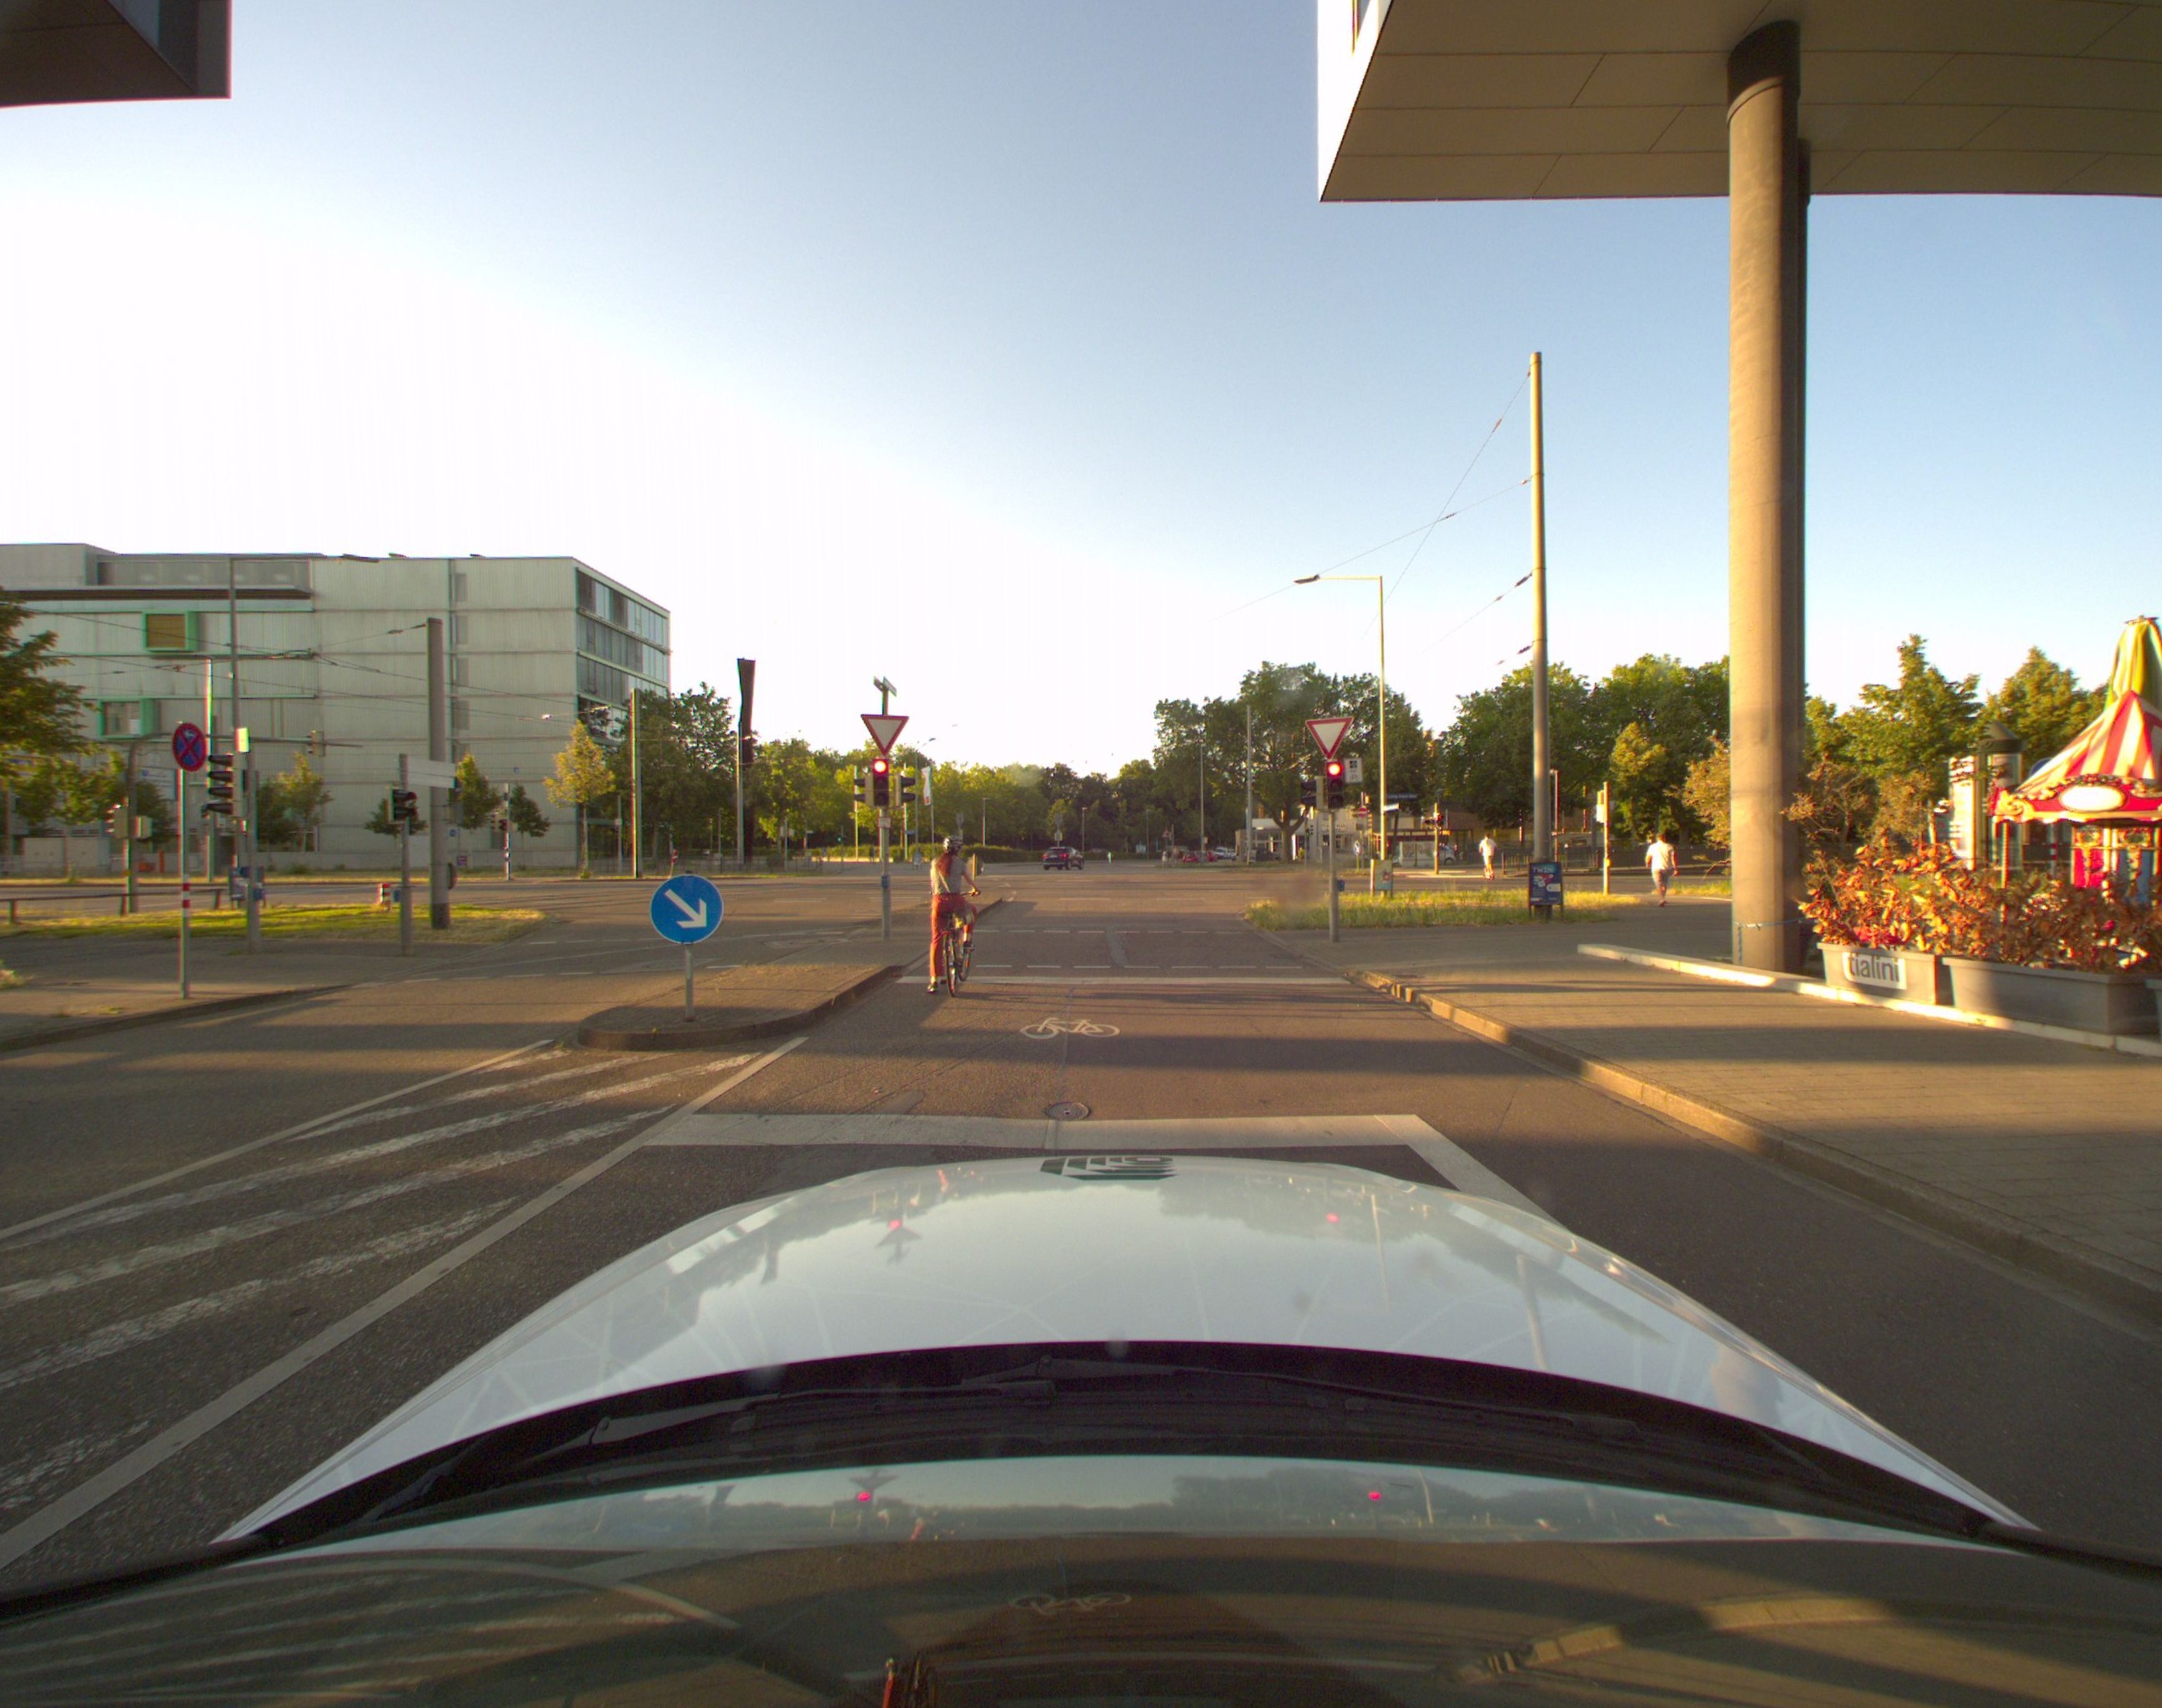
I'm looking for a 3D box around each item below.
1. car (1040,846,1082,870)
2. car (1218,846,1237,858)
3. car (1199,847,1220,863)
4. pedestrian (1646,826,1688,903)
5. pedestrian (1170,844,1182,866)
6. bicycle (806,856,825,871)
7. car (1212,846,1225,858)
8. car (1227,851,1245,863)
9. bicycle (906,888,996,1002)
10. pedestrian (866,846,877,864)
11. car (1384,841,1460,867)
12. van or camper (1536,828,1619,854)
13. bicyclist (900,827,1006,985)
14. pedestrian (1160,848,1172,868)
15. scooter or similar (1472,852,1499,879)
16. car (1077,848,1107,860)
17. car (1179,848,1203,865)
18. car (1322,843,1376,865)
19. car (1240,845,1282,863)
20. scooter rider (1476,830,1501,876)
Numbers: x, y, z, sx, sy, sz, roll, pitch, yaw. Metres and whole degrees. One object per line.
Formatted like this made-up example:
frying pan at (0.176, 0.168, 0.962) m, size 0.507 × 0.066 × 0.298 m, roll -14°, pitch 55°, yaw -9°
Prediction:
car at (-1.327, 0.302, 56.682) m, size 1.742 × 1.541 × 4.418 m, roll -1°, pitch -1°, yaw 15°
car at (24.429, -0.307, 135.451) m, size 1.975 × 2.013 × 4.024 m, roll -1°, pitch 0°, yaw 27°
car at (16.263, 0.088, 103.131) m, size 1.899 × 2.047 × 4.020 m, roll 0°, pitch 0°, yaw 20°
pedestrian at (13.940, 0.237, 19.397) m, size 0.754 × 1.791 × 0.807 m, roll -1°, pitch 0°, yaw 32°
pedestrian at (7.813, 0.079, 66.880) m, size 0.712 × 1.754 × 0.903 m, roll -1°, pitch 0°, yaw 26°
bicycle at (-20.704, 0.703, 63.469) m, size 0.697 × 1.136 × 2.392 m, roll -1°, pitch 0°, yaw -1°
car at (22.087, -0.327, 130.880) m, size 1.982 × 2.013 × 4.010 m, roll -1°, pitch 0°, yaw 9°
car at (21.915, 0.377, 115.094) m, size 1.899 × 1.602 × 4.020 m, roll 0°, pitch 0°, yaw 20°
bicycle at (-1.443, 0.979, 9.415) m, size 0.632 × 1.068 × 2.123 m, roll -1°, pitch 0°, yaw 2°
pedestrian at (-19.890, 0.087, 77.485) m, size 0.898 × 1.754 × 0.715 m, roll -1°, pitch 0°, yaw -24°
car at (23.663, -0.022, 56.526) m, size 4.523 × 1.728 × 1.860 m, roll -1°, pitch 0°, yaw -3°
van or camper at (47.941, -1.229, 78.726) m, size 6.530 × 2.410 × 2.268 m, roll -1°, pitch 0°, yaw 6°
bicyclist at (-1.450, 0.567, 9.430) m, size 1.028 × 1.717 × 0.996 m, roll -1°, pitch 0°, yaw 1°
pedestrian at (7.128, 0.318, 68.107) m, size 0.712 × 1.639 × 0.903 m, roll -1°, pitch 0°, yaw 26°
scooter or similar at (16.586, 0.449, 33.424) m, size 0.508 × 1.090 × 1.243 m, roll -1°, pitch 0°, yaw 2°
car at (1.495, -0.010, 109.695) m, size 3.970 × 1.561 × 2.002 m, roll -1°, pitch 0°, yaw 3°
car at (12.931, 0.263, 95.590) m, size 1.852 × 1.874 × 3.896 m, roll 0°, pitch 0°, yaw 23°
car at (23.665, -0.031, 72.090) m, size 4.211 × 1.846 × 2.002 m, roll -1°, pitch 0°, yaw 4°
car at (19.593, 0.008, 88.690) m, size 4.354 × 1.835 × 1.952 m, roll -1°, pitch 0°, yaw 6°
scooter rider at (16.792, -0.034, 33.593) m, size 0.699 × 1.855 × 0.669 m, roll 0°, pitch -1°, yaw 1°
